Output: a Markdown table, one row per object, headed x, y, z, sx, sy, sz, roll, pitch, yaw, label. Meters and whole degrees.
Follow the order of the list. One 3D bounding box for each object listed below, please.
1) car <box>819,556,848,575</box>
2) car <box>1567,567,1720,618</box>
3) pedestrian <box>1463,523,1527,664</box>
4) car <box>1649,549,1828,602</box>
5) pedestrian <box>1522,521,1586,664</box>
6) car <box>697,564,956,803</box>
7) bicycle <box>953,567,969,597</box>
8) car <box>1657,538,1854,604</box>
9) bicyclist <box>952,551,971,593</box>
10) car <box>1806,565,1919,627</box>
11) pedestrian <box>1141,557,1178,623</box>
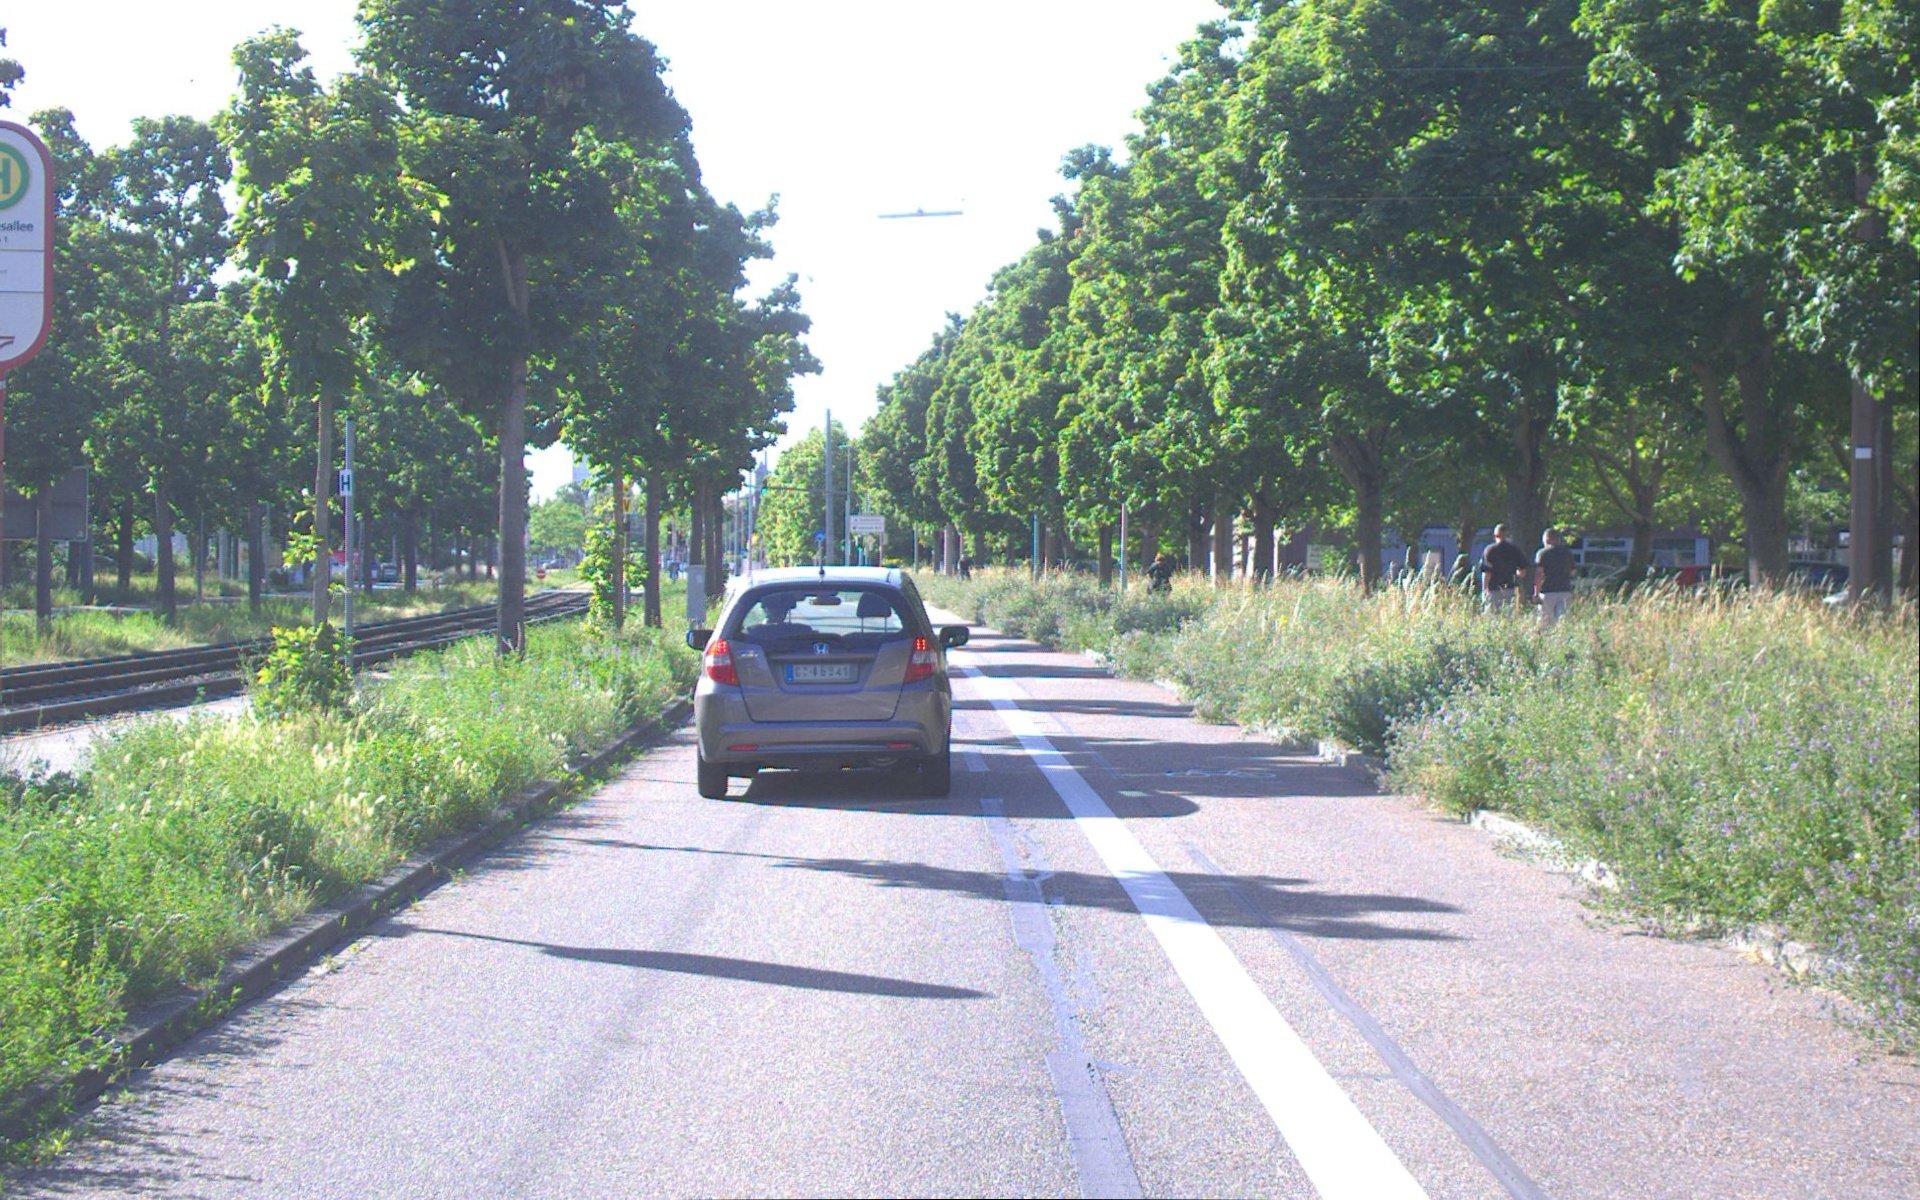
| x | y | z | sx | sy | sz | roll | pitch | yaw | label |
| --- | --- | --- | --- | --- | --- | --- | --- | --- | --- |
| -9.632 | -2.622 | 261.530 | 1.773 | 1.382 | 3.871 | -1 | 1 | -9 | car |
| 20.262 | -0.237 | 102.064 | 4.165 | 1.427 | 1.824 | 1 | 0 | 1 | car |
| 7.327 | -0.091 | 47.102 | 0.708 | 1.911 | 0.817 | 1 | 0 | -1 | pedestrian |
| 20.450 | -0.644 | 90.441 | 4.293 | 1.320 | 1.940 | 0 | 2 | 2 | car |
| 8.145 | -0.106 | 47.148 | 0.708 | 1.924 | 0.817 | 1 | 0 | -1 | pedestrian |
| -0.923 | 0.510 | 23.597 | 1.624 | 1.494 | 3.457 | -1 | 1 | -2 | car |
| 0.041 | -0.740 | 141.601 | 0.483 | 1.200 | 2.144 | 0 | -1 | -5 | bicycle |
| 19.734 | -0.724 | 85.386 | 4.391 | 1.591 | 1.884 | 0 | 1 | -5 | car |
| 0.052 | -1.164 | 141.481 | 0.683 | 1.714 | 0.902 | 0 | 0 | -6 | bicyclist |
| 20.812 | -0.098 | 74.081 | 4.696 | 1.266 | 1.808 | 0 | 2 | -5 | car |
| 4.815 | -0.247 | 83.062 | 0.824 | 1.563 | 0.762 | 1 | 0 | -1 | pedestrian |
